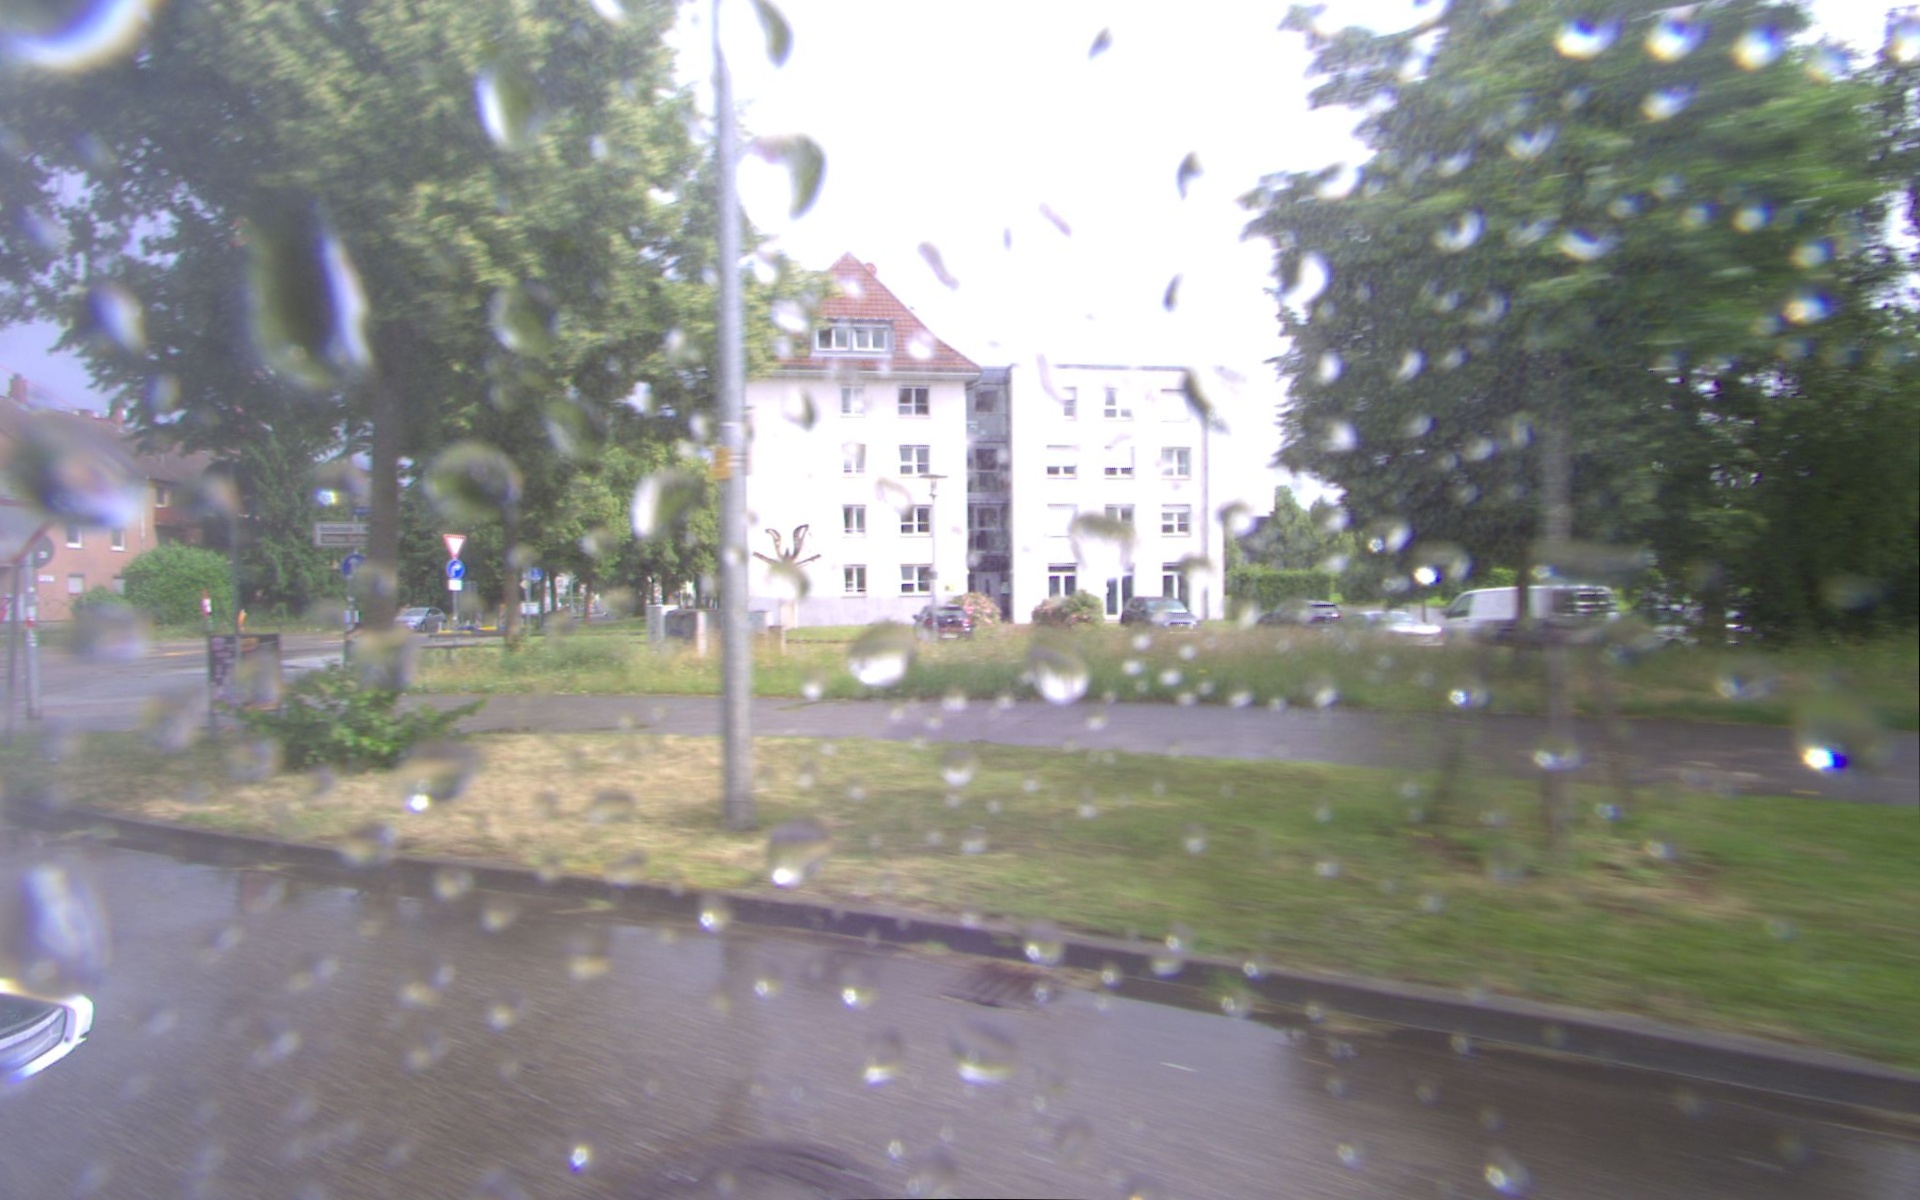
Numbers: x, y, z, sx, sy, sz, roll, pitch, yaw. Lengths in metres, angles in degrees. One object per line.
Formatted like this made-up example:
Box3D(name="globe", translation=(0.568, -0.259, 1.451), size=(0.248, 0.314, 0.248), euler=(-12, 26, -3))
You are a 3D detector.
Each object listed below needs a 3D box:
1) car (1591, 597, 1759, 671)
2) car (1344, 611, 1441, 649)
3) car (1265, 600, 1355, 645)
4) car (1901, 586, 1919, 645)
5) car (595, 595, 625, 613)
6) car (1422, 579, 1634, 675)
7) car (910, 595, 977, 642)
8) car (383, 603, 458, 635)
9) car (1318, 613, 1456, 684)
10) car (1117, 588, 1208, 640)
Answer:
Box3D(name="car", translation=(17.550, 0.780, 24.778), size=(1.500, 1.685, 3.600), euler=(-1, 0, -2))
Box3D(name="car", translation=(15.615, 1.053, 36.335), size=(1.631, 1.252, 3.579), euler=(-1, 0, -7))
Box3D(name="car", translation=(12.490, 0.758, 35.953), size=(1.631, 1.364, 3.577), euler=(-1, 3, -6))
Box3D(name="car", translation=(26.870, 0.407, 25.520), size=(1.815, 1.580, 3.977), euler=(0, 0, -8))
Box3D(name="car", translation=(-36.348, 0.439, 104.152), size=(2.042, 1.755, 4.695), euler=(2, 1, -7))
Box3D(name="car", translation=(13.798, 0.560, 24.796), size=(2.072, 2.085, 5.158), euler=(-1, 1, -4))
Box3D(name="car", translation=(-0.616, 0.589, 34.054), size=(1.644, 1.502, 3.735), euler=(-1, 1, -10))
Box3D(name="car", translation=(-32.483, 1.097, 60.477), size=(2.041, 1.755, 4.697), euler=(2, 1, -1))
Box3D(name="car", translation=(10.185, 1.101, 24.158), size=(1.577, 1.530, 3.620), euler=(0, 0, -5))
Box3D(name="car", translation=(7.015, 0.432, 35.135), size=(1.817, 1.574, 4.100), euler=(-1, 3, -9))
